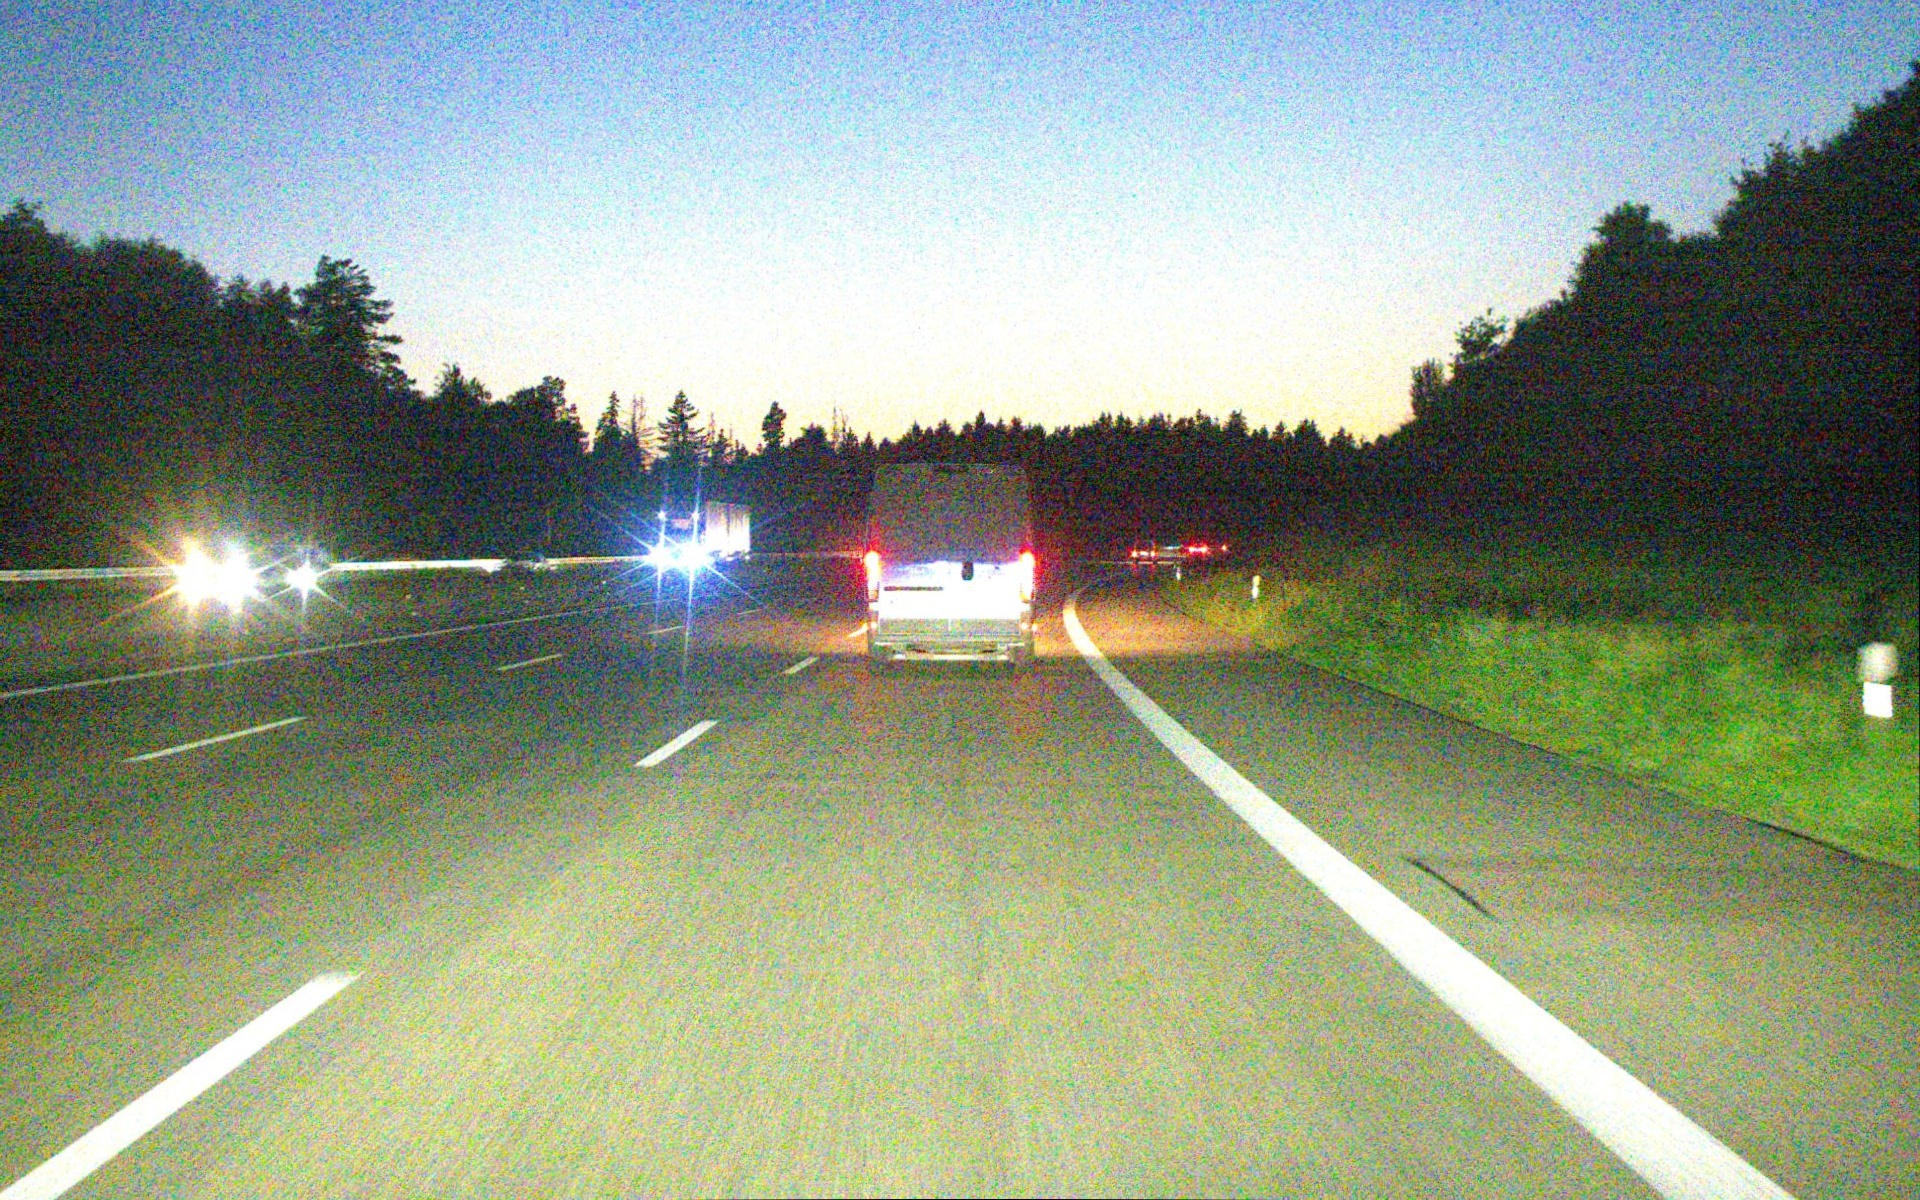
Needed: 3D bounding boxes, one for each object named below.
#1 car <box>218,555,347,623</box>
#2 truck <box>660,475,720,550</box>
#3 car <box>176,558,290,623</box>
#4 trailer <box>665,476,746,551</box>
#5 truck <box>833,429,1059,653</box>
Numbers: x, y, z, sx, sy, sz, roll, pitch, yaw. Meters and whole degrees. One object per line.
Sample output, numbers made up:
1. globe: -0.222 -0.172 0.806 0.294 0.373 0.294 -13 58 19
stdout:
1. car: -15.118 -0.262 76.954 1.993 1.463 4.208 0 0 1
2. truck: -15.507 -4.990 197.480 2.714 4.184 5.420 0 0 3
3. car: -18.706 -0.254 88.637 1.993 1.644 4.399 0 0 0
4. trailer: -15.086 -5.067 205.499 2.689 4.203 17.252 0 0 3
5. truck: -0.160 -0.725 44.577 2.630 2.615 8.685 0 0 0
